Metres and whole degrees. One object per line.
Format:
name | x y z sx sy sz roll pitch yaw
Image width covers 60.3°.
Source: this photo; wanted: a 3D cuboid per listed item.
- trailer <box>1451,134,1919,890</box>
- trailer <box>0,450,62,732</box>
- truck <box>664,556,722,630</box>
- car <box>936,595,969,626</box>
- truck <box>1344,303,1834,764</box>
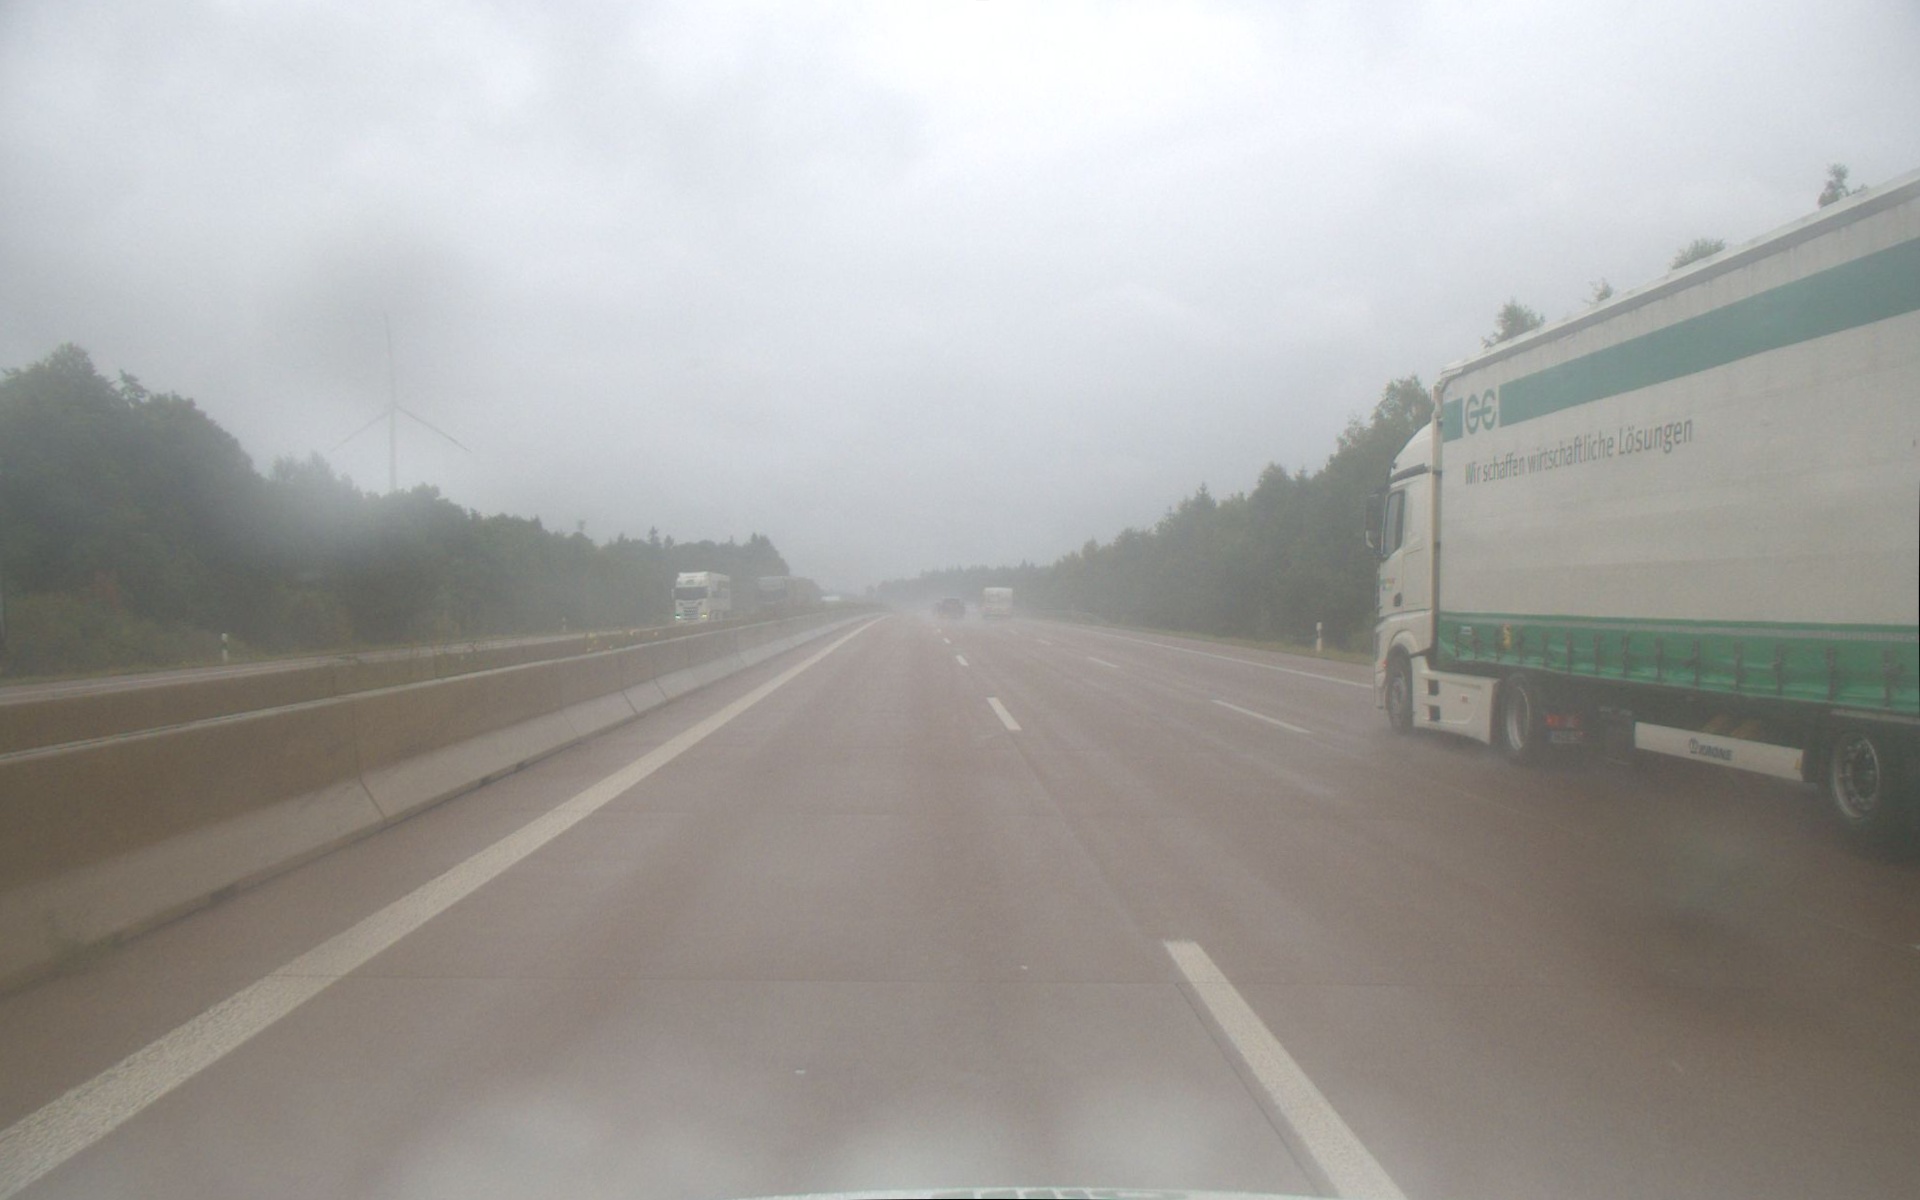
trailer | 6.819 -0.534 10.865 2.795 4.305 13.127 -1 1 -2
trailer | -17.037 -0.183 22.215 3.361 4.544 12.441 1 0 -2
truck | -20.551 -0.516 127.820 3.350 5.473 8.154 1 0 -2
car | -0.545 0.683 113.443 2.129 2.016 4.129 -1 1 -1
truck | 6.539 -0.659 18.396 2.822 4.178 6.347 -1 1 -2
